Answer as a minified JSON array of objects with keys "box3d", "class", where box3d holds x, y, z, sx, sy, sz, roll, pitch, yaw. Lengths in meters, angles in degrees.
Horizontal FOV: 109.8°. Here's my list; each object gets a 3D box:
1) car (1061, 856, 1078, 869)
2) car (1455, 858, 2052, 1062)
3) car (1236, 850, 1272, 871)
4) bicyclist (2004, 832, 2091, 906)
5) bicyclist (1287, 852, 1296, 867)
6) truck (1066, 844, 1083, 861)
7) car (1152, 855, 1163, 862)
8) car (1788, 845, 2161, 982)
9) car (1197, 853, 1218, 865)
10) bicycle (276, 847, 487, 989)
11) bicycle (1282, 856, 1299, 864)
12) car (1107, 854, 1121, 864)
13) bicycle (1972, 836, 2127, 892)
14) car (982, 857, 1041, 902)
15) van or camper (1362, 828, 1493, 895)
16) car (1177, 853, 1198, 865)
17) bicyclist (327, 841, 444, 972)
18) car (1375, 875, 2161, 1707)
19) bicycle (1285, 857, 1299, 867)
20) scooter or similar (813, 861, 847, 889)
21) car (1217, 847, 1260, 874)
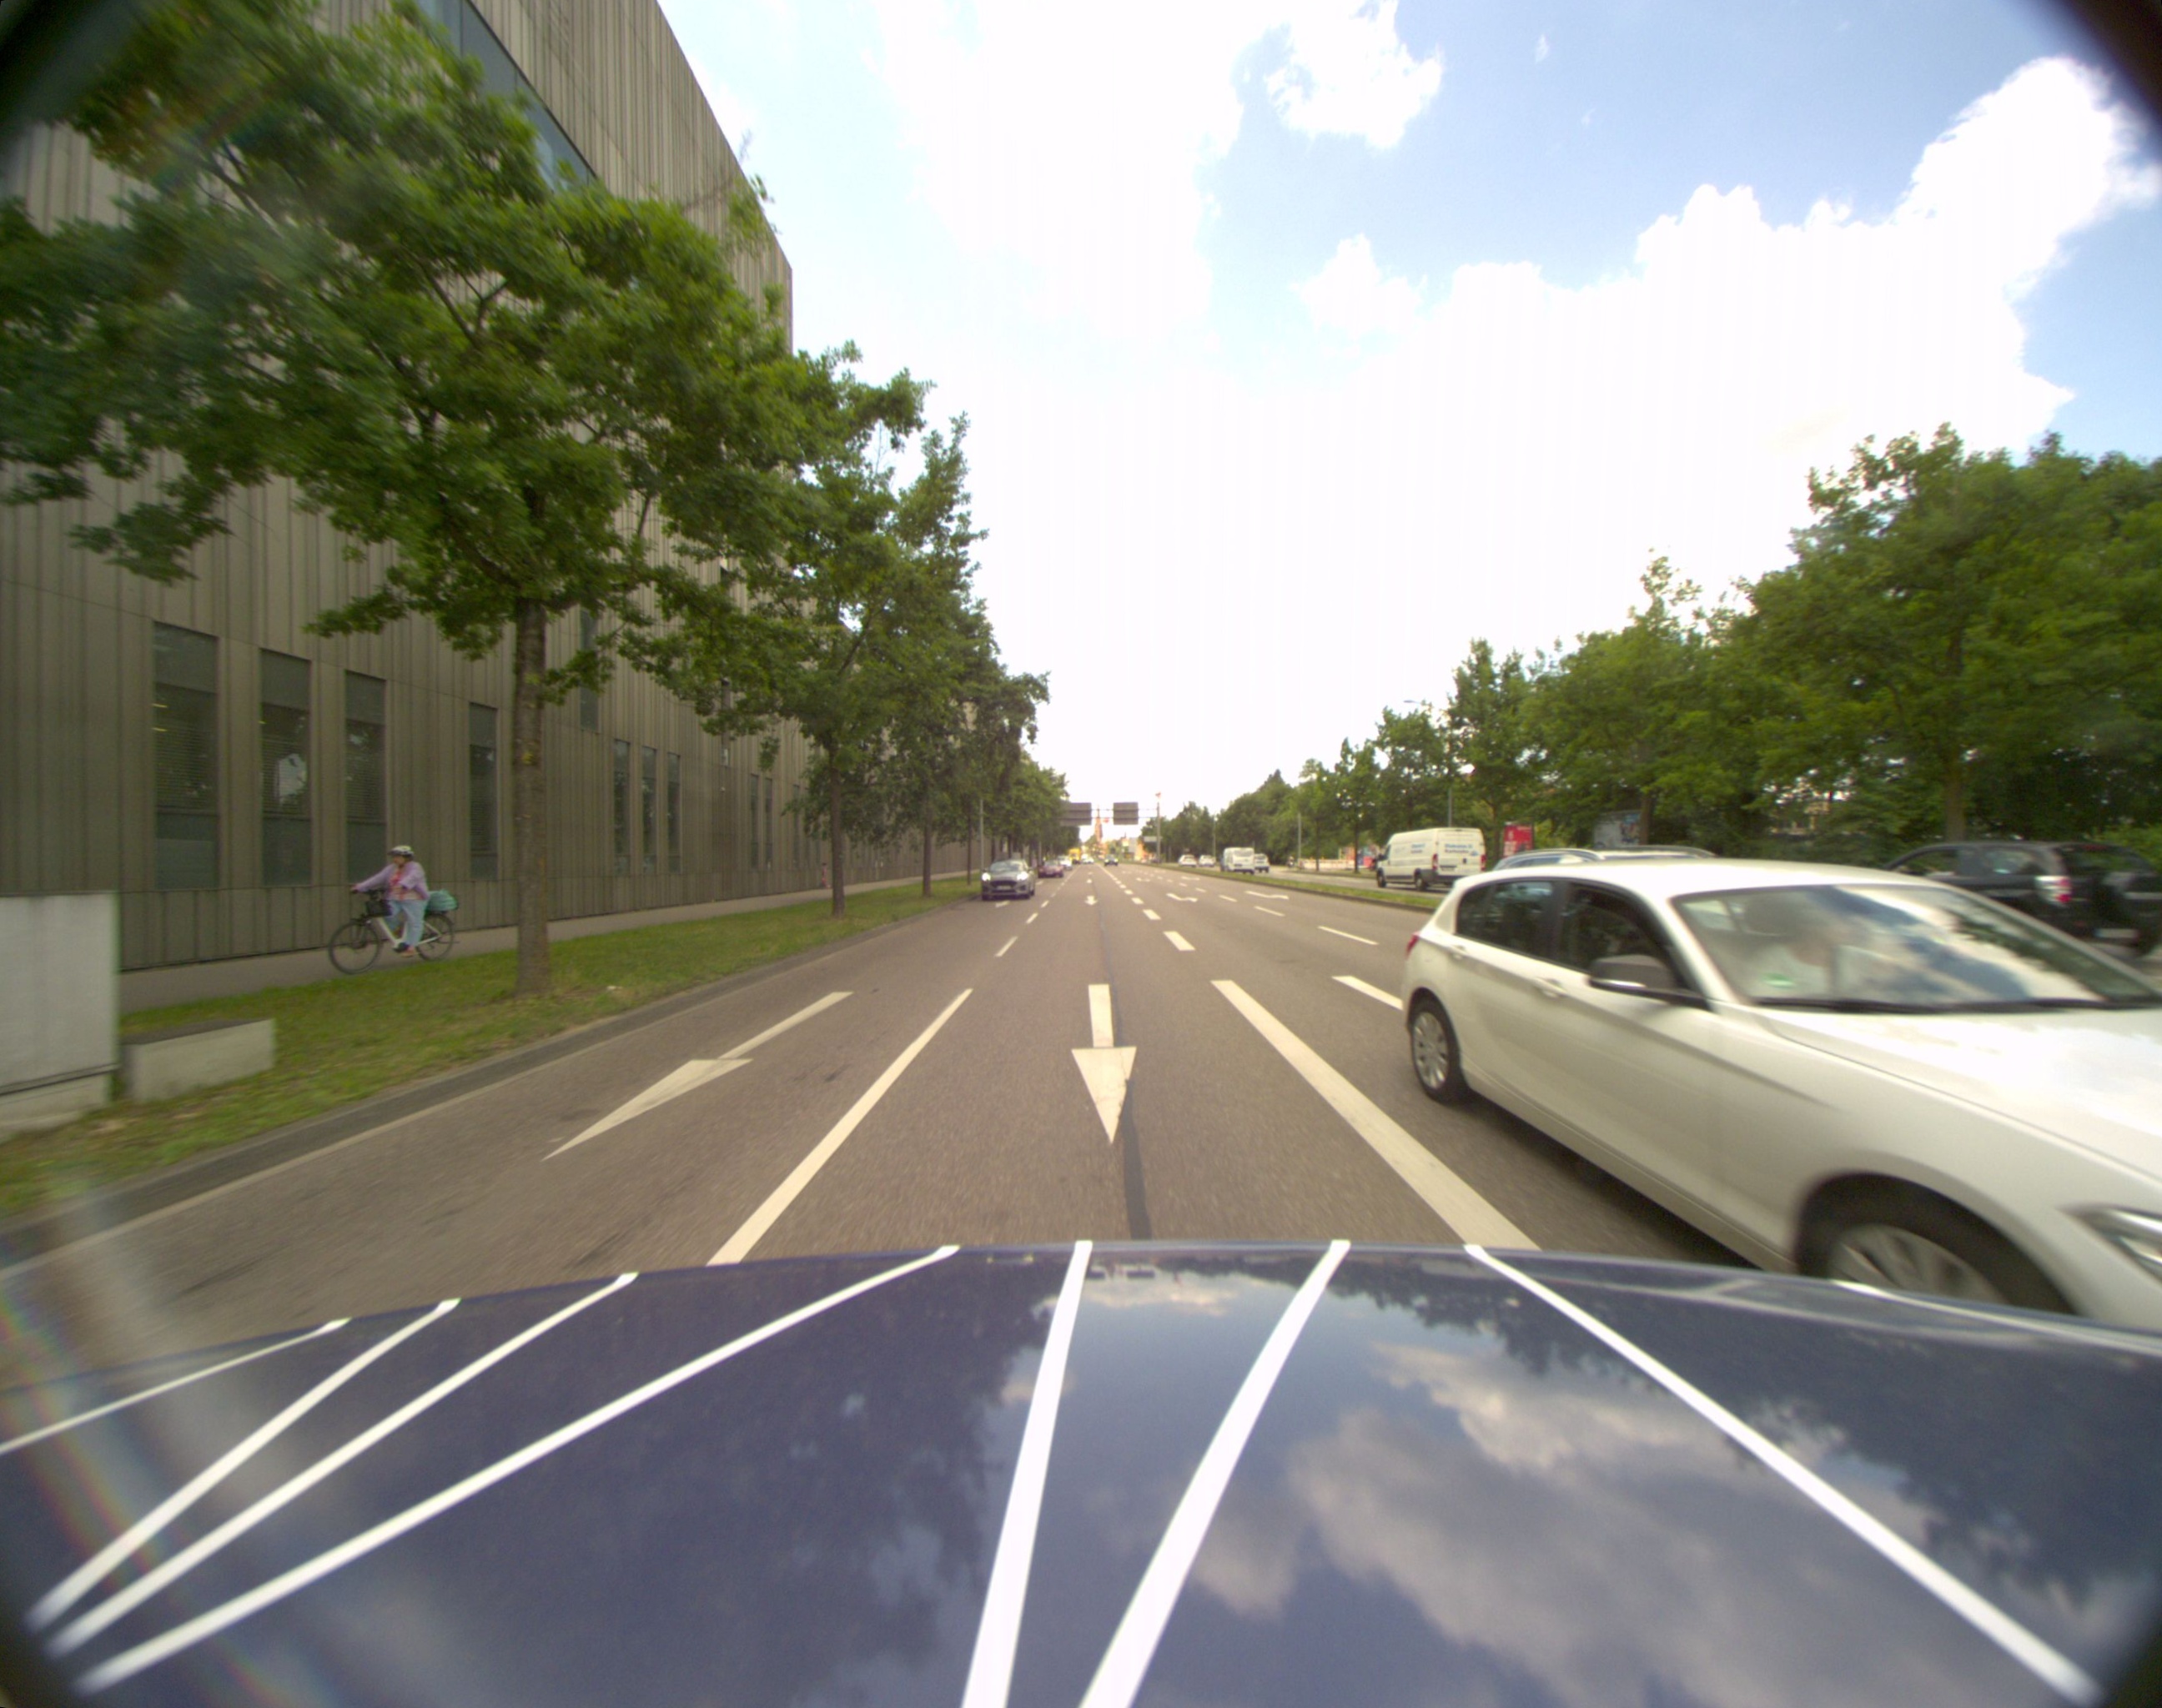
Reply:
[{"box3d":[-1.265,0.939,84.567,1.713,1.487,3.650,0,0,1],"class":"car"},{"box3d":[6.081,0.787,7.946,1.998,1.407,4.832,-2,0,1],"class":"car"},{"box3d":[15.314,0.540,67.460,1.999,1.791,4.408,0,0,-3],"class":"car"},{"box3d":[23.885,0.359,18.797,0.894,1.737,0.997,-2,1,0],"class":"bicyclist"},{"box3d":[23.381,0.616,84.385,0.740,1.648,0.980,0,0,-4],"class":"bicyclist"},{"box3d":[-1.109,-0.229,142.489,3.066,3.095,7.935,0,0,1],"class":"truck"},{"box3d":[15.783,0.901,157.008,1.964,1.508,4.909,0,0,1],"class":"car"},{"box3d":[13.983,0.754,11.848,1.998,1.756,4.220,0,0,0],"class":"car"},{"box3d":[16.501,0.661,99.496,1.919,1.434,4.415,2,0,0],"class":"car"},{"box3d":[-9.700,0.791,10.736,0.721,1.763,2.533,0,0,-3],"class":"bicycle"},{"box3d":[27.291,0.777,99.042,0.665,1.009,2.143,0,1,-44],"class":"bicycle"},{"box3d":[4.613,0.686,106.695,1.782,1.487,3.598,0,0,1],"class":"car"},{"box3d":[23.869,0.223,18.813,0.824,1.263,2.393,-2,1,2],"class":"bicycle"},{"box3d":[-2.633,0.939,29.496,1.823,1.565,3.954,-2,0,1],"class":"car"},{"box3d":[14.627,0.291,32.745,2.358,2.525,7.063,-1,0,0],"class":"van or camper"},{"box3d":[13.059,0.547,93.408,1.998,1.423,5.024,0,0,1],"class":"car"},{"box3d":[-9.700,0.700,10.642,0.717,1.758,0.988,0,1,-3],"class":"bicyclist"},{"box3d":[2.942,0.893,2.949,1.920,1.406,4.295,-3,0,1],"class":"car"},{"box3d":[23.391,0.872,84.305,0.752,1.155,2.257,0,0,-3],"class":"bicycle"},{"box3d":[-11.659,0.955,35.355,0.706,1.239,2.480,1,0,1],"class":"scooter or similar"},{"box3d":[11.984,0.458,58.320,2.196,1.952,5.193,0,0,0],"class":"car"}]
